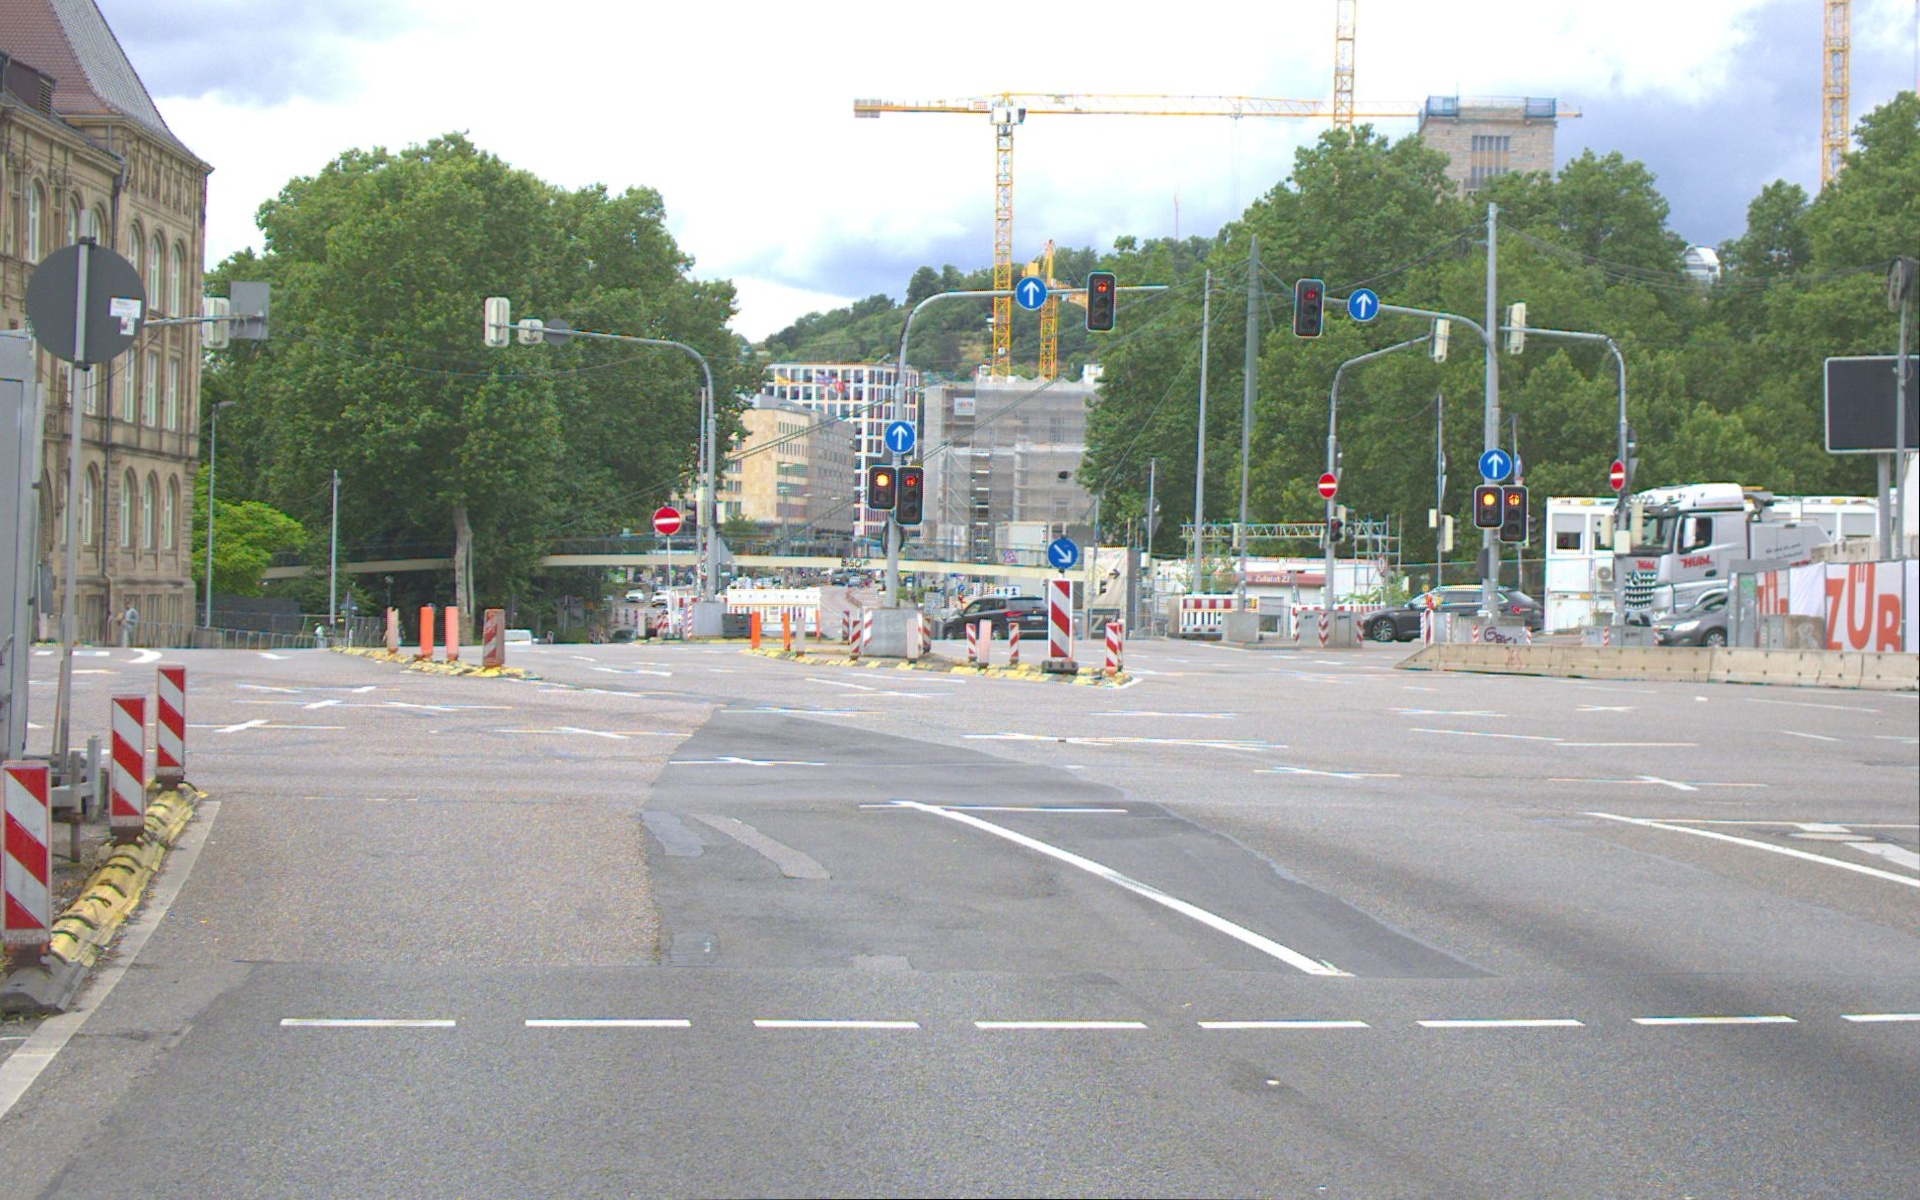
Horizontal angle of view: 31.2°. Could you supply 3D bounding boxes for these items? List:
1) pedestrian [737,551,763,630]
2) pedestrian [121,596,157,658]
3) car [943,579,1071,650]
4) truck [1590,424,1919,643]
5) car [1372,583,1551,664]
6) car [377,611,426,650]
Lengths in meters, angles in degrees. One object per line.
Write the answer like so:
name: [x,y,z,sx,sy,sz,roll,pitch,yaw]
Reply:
pedestrian: [-4.935,-0.232,80.817,0.585,1.834,0.604,1,0,-4]
pedestrian: [-26.525,0.868,111.063,0.950,2.007,0.766,1,0,2]
car: [1.365,0.419,101.374,1.993,2.007,4.000,1,1,-29]
truck: [19.977,-1.502,80.983,9.712,4.943,3.114,1,0,-18]
car: [13.159,0.601,90.233,4.269,2.007,1.998,1,1,23]
car: [-27.786,1.522,171.106,1.993,1.831,4.001,1,1,-3]
